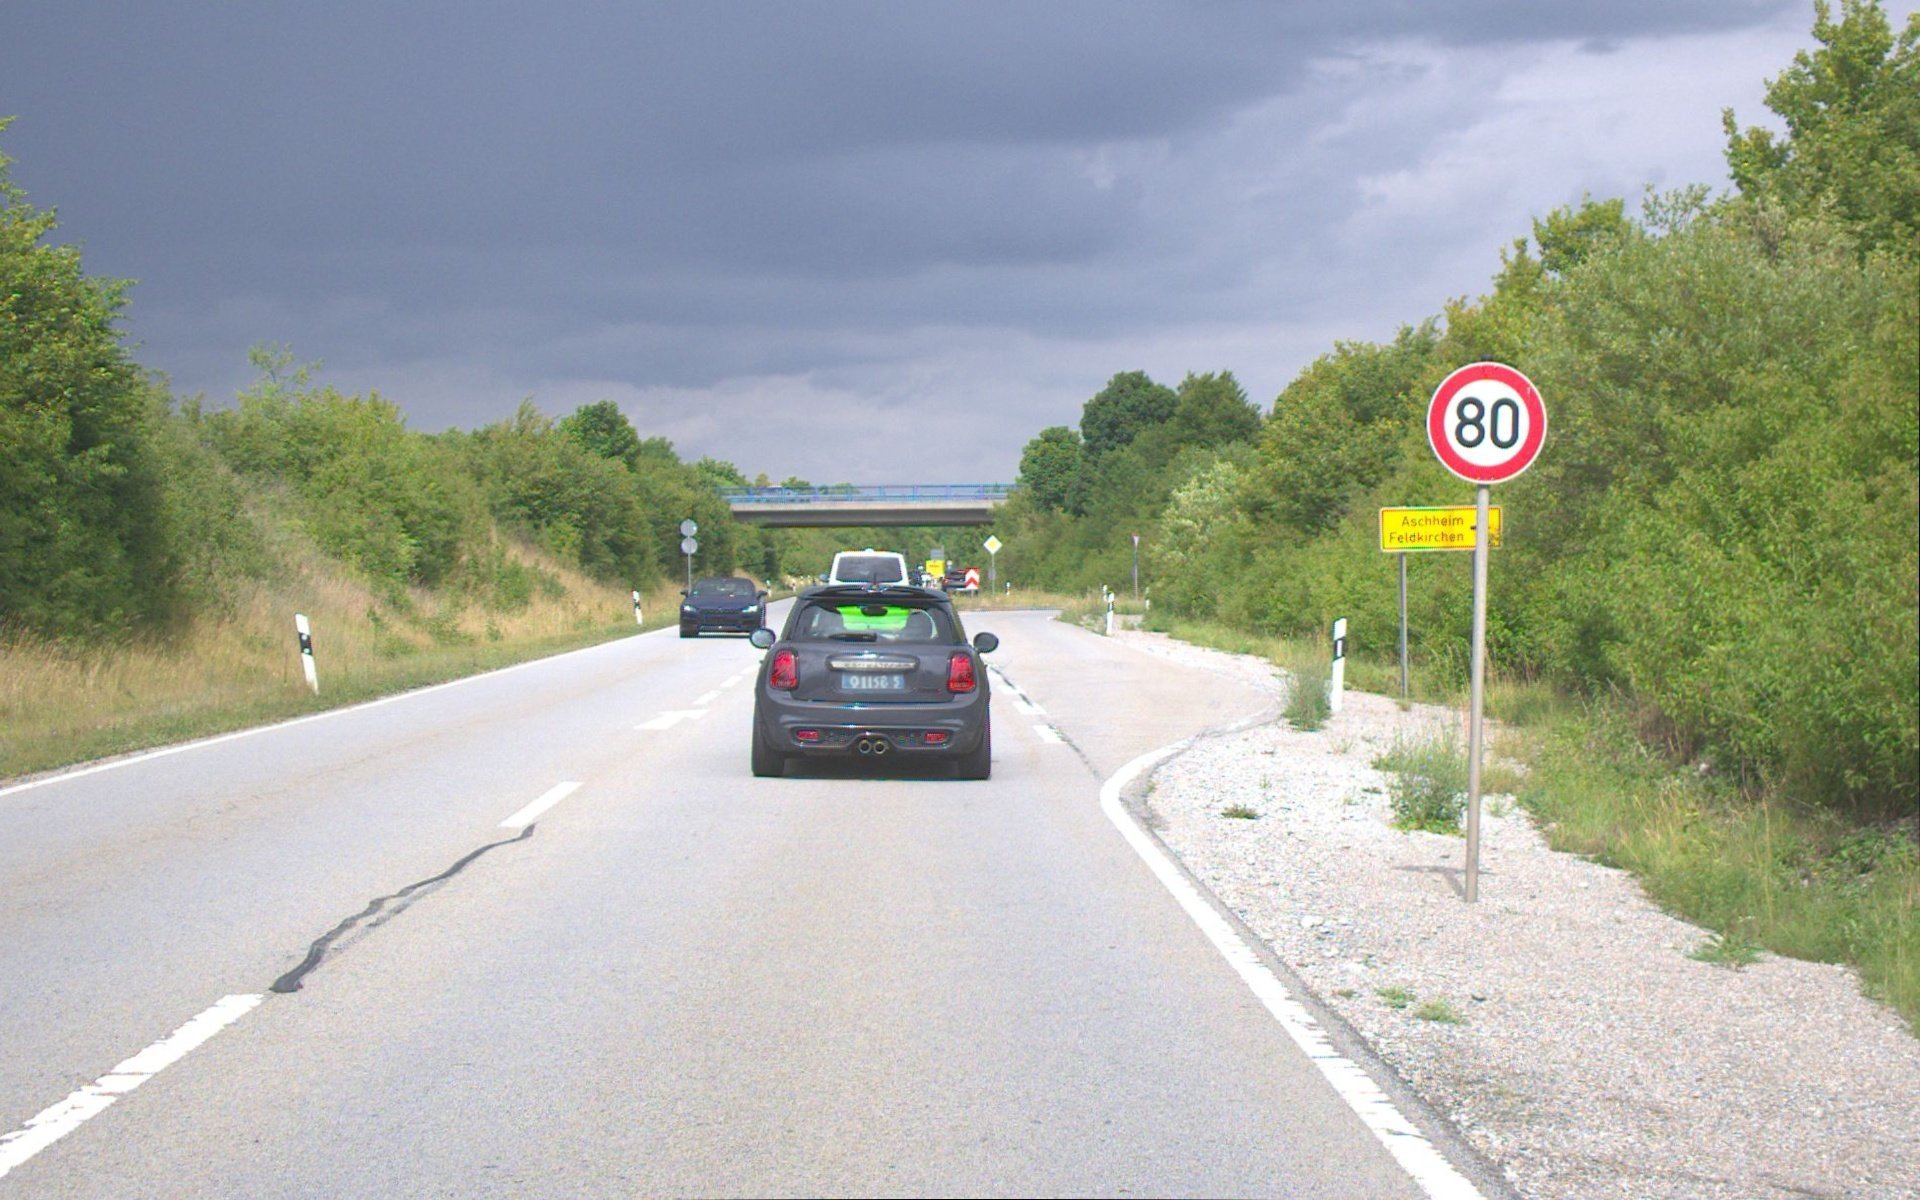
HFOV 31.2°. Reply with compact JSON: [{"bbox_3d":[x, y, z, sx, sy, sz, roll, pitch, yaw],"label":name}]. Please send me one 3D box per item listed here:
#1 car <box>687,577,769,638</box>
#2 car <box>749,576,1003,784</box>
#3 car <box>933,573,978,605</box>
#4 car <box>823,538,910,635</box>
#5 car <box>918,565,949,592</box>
[{"bbox_3d":[-5.233,0.152,77.895,1.701,1.326,4.000,0,0,-1],"label":"car"},{"bbox_3d":[-0.632,0.550,26.259,1.756,1.422,4.000,1,0,-1],"label":"car"},{"bbox_3d":[-0.241,-0.553,173.988,1.993,1.547,4.000,1,0,-3],"label":"car"},{"bbox_3d":[-2.049,-0.305,75.770,1.819,2.047,4.000,1,0,-1],"label":"car"},{"bbox_3d":[-1.721,-1.406,222.999,1.780,1.700,4.000,1,0,-3],"label":"car"}]
